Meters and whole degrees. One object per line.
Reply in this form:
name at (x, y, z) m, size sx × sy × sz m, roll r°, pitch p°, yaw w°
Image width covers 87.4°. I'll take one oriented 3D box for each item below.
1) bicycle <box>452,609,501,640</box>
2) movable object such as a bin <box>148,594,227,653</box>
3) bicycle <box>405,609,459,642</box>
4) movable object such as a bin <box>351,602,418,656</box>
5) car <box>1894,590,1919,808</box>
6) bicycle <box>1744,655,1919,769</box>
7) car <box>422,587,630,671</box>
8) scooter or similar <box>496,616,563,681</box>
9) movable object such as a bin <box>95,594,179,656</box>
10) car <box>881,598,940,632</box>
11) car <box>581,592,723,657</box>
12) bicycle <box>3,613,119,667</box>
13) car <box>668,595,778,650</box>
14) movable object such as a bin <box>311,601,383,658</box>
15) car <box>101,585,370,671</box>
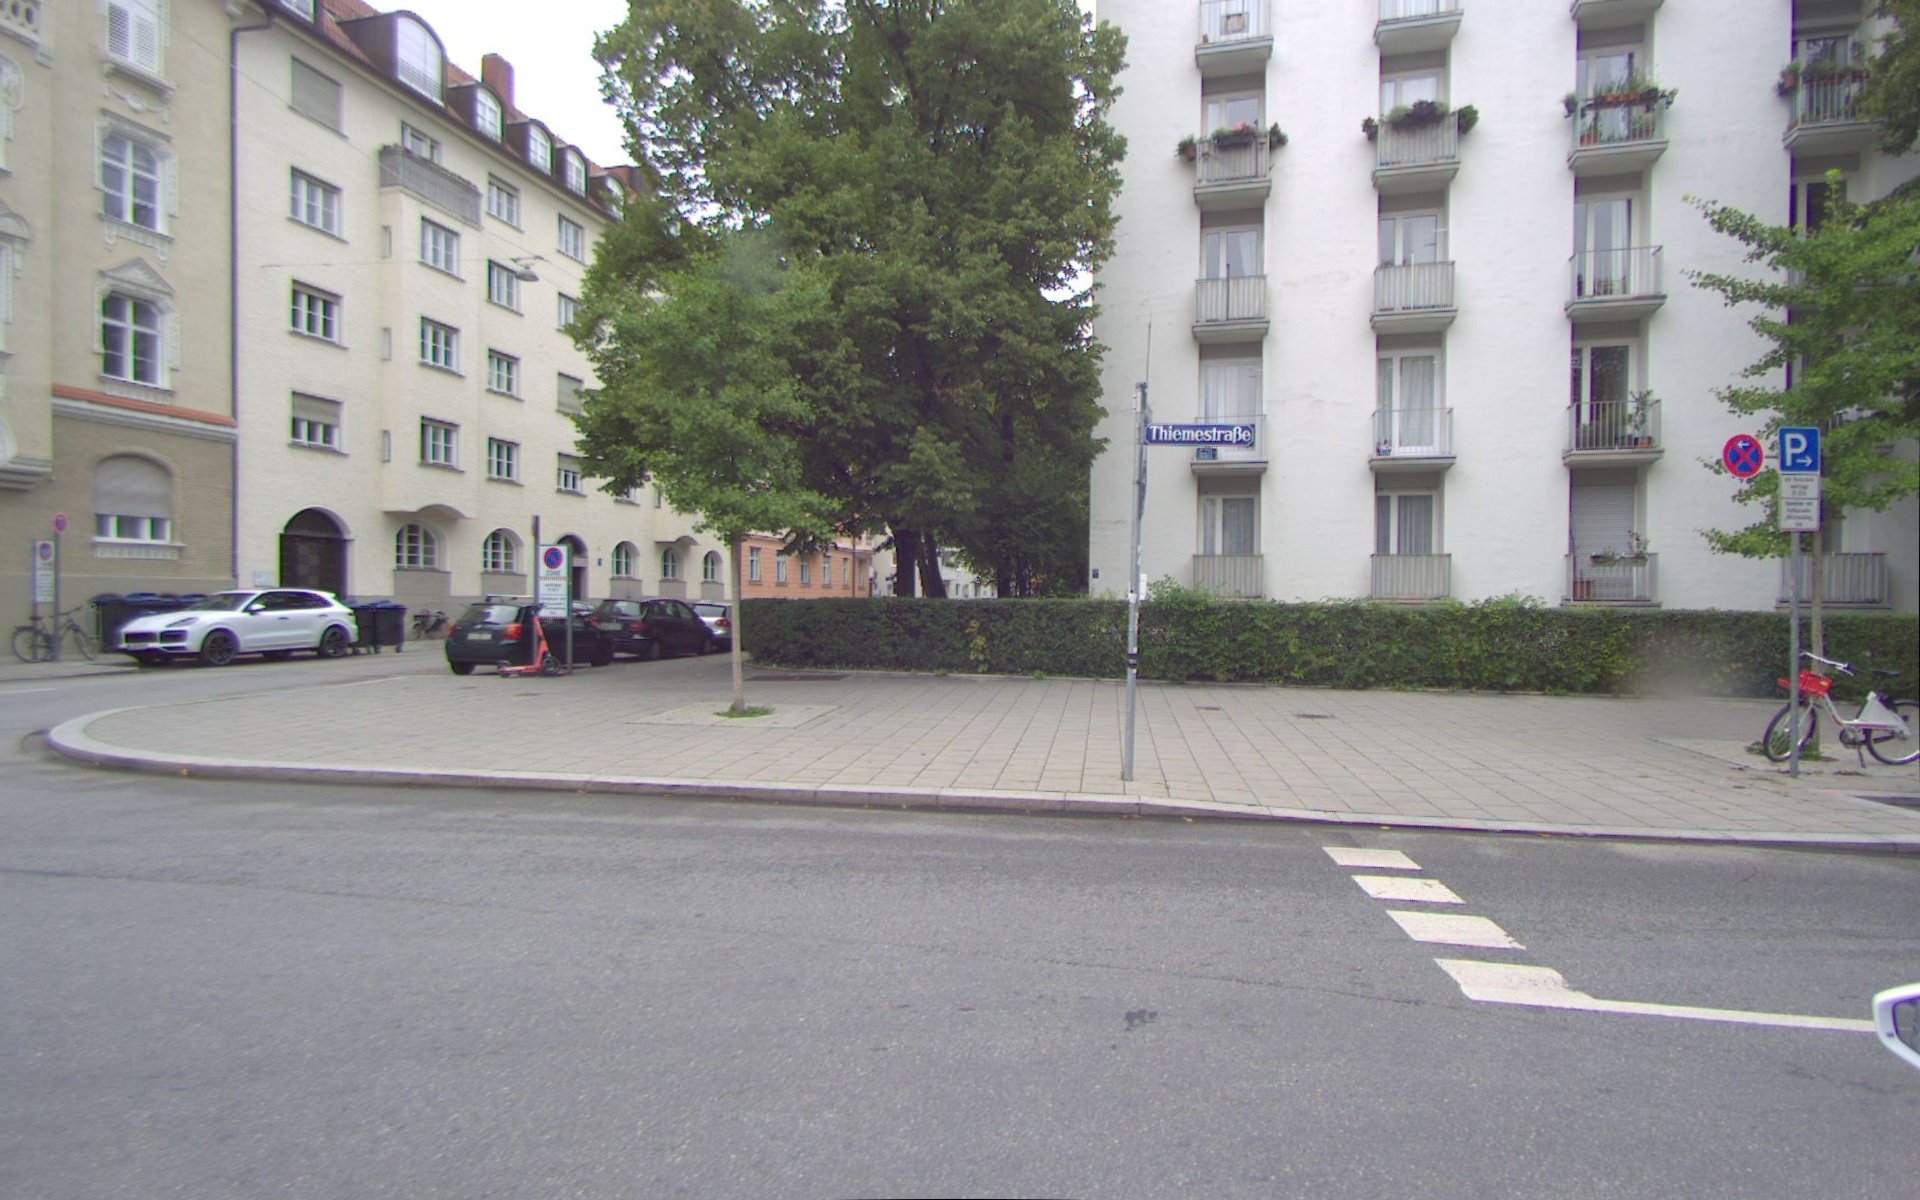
bicycle at (-17.371, 0.876, 36.159) m, size 0.553 × 1.063 × 1.831 m, roll 1°, pitch 0°, yaw 14°
movable object such as a bin at (-19.555, 0.585, 25.448) m, size 1.072 × 1.444 × 1.174 m, roll 1°, pitch 0°, yaw 16°
bicycle at (-17.903, 0.857, 34.111) m, size 0.553 × 1.063 × 1.831 m, roll 1°, pitch 0°, yaw 14°
movable object such as a bin at (-15.704, 0.777, 27.426) m, size 1.072 × 1.444 × 1.174 m, roll 1°, pitch 0°, yaw 16°
car at (10.243, 0.842, 7.239) m, size 4.813 × 1.815 × 2.001 m, roll 1°, pitch -1°, yaw 10°
bicycle at (8.984, 1.110, 10.070) m, size 1.793 × 1.063 × 0.492 m, roll 1°, pitch 0°, yaw 4°
car at (-8.718, 0.551, 20.643) m, size 1.787 × 1.525 × 4.425 m, roll -1°, pitch 0°, yaw 10°
scooter or similar at (-7.480, 0.838, 17.471) m, size 0.985 × 1.103 × 0.389 m, roll 1°, pitch 0°, yaw -13°
movable object such as a bin at (-19.892, 0.585, 24.299) m, size 1.072 × 1.444 × 1.174 m, roll 1°, pitch 0°, yaw 16°
car at (-2.466, 0.743, 51.401) m, size 1.804 × 1.656 × 4.117 m, roll -1°, pitch 0°, yaw 15°
car at (-7.771, 0.602, 25.825) m, size 1.763 × 1.525 × 4.237 m, roll -1°, pitch 0°, yaw 10°
bicycle at (-18.866, 0.810, 21.128) m, size 0.553 × 1.063 × 1.831 m, roll 1°, pitch 0°, yaw 14°
car at (-7.069, 0.650, 30.369) m, size 1.763 × 1.525 × 4.117 m, roll -1°, pitch 0°, yaw 10°
movable object such as a bin at (-16.026, 0.761, 26.279) m, size 1.072 × 1.444 × 1.174 m, roll 1°, pitch 0°, yaw 16°
car at (-16.219, 0.571, 22.867) m, size 1.942 × 1.723 × 4.843 m, roll 1°, pitch 0°, yaw 14°
